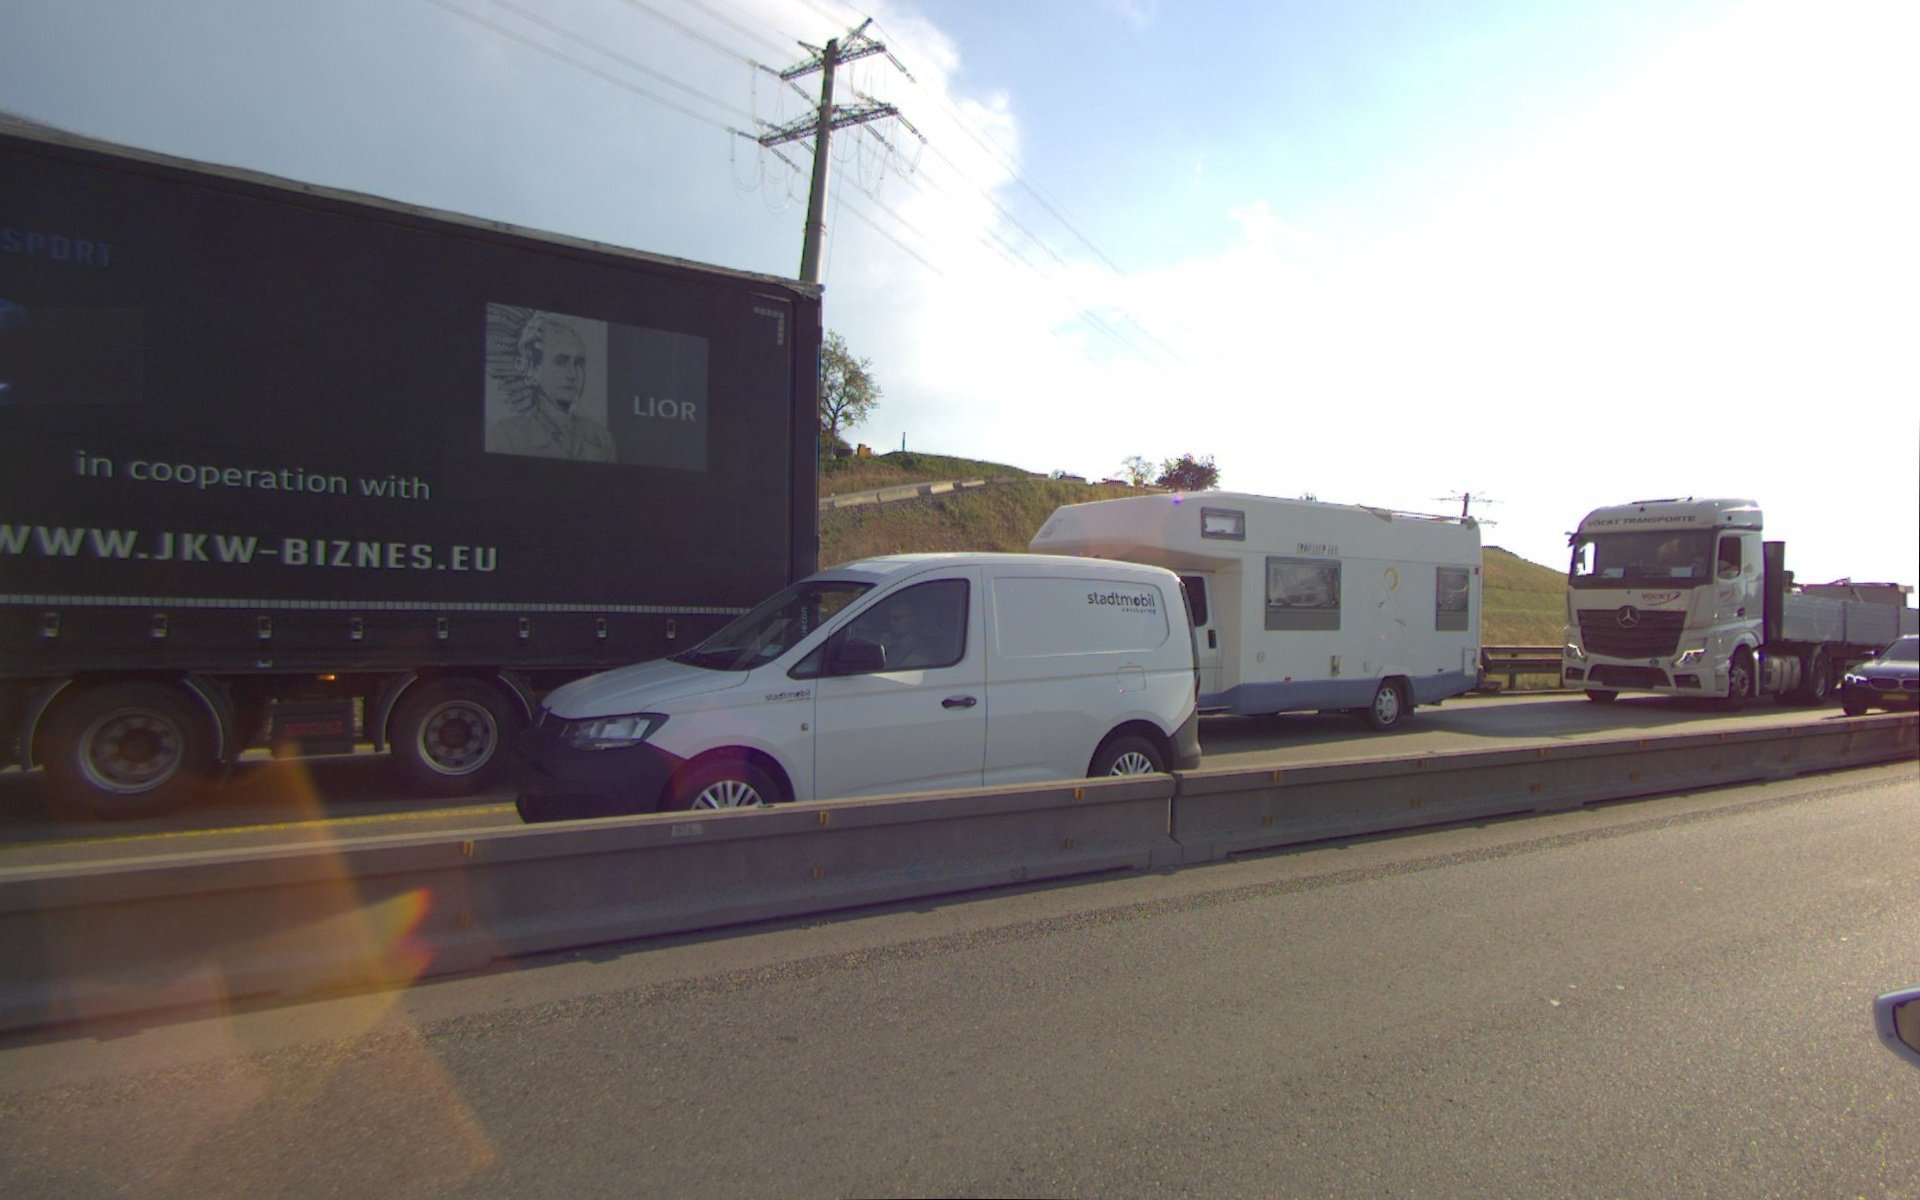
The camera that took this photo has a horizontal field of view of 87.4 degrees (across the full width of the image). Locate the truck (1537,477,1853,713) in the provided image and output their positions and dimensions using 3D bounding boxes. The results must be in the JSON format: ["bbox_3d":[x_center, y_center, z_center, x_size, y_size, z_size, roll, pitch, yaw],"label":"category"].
[{"bbox_3d":[14.036,0.018,19.045,6.445,3.804,2.587,2,-1,-32],"label":"truck"}]

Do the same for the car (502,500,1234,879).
[{"bbox_3d":[-0.416,0.470,6.504,4.407,1.718,1.746,2,-1,-34],"label":"car"}]

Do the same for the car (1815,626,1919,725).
[{"bbox_3d":[16.951,1.286,17.568,4.536,1.531,1.783,2,-1,-32],"label":"car"}]

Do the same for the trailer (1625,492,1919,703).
[{"bbox_3d":[19.773,0.173,22.830,13.830,3.774,2.505,2,-1,-33],"label":"trailer"}]

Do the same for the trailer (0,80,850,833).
[{"bbox_3d":[-5.198,-0.780,7.235,8.446,4.244,2.430,2,0,-31],"label":"trailer"}]

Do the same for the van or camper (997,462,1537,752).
[{"bbox_3d":[4.293,0.191,13.184,7.534,2.930,2.395,2,-1,-32],"label":"van or camper"}]
